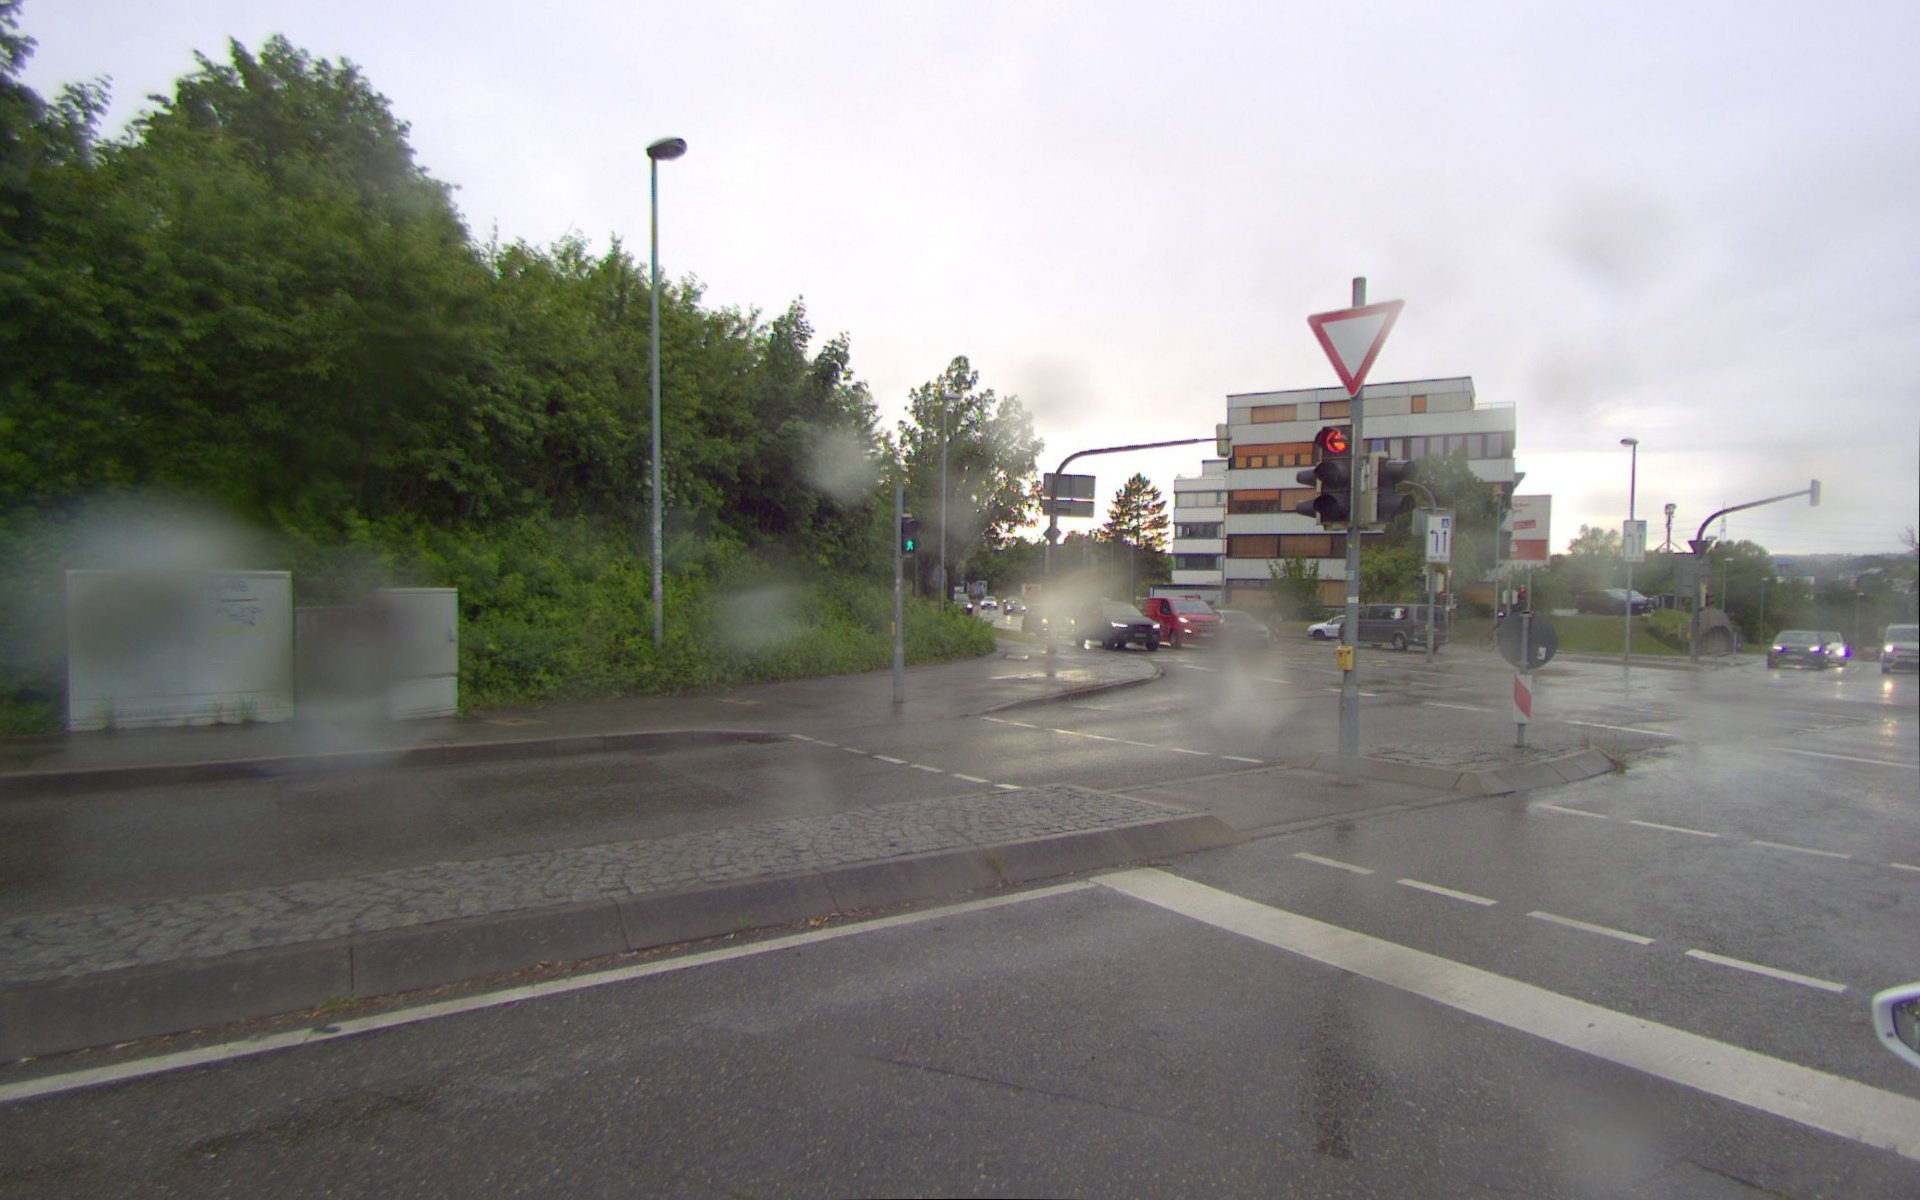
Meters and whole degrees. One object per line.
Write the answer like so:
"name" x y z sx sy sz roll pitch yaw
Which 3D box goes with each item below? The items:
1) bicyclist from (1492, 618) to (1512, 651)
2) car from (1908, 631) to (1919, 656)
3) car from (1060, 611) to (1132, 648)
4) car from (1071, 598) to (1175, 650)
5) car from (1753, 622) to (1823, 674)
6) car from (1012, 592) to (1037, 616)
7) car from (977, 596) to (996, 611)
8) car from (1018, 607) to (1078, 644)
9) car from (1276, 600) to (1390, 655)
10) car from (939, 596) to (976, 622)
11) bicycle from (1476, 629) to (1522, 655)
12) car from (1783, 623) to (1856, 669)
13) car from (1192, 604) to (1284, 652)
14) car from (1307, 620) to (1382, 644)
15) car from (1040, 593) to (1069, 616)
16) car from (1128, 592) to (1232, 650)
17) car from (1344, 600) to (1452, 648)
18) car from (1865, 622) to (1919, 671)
"bicyclist" 24.729 1.580 45.819 0.597 1.465 0.539 0 1 -36
"car" 63.777 2.899 66.102 1.594 1.468 3.791 3 3 37
"car" 6.293 1.337 46.993 1.964 1.496 4.665 1 1 -11
"car" 5.709 0.834 35.742 2.000 1.701 4.620 1 -1 -14
"car" 33.578 1.884 40.694 1.971 1.920 3.979 2 1 42
"car" 5.857 0.361 91.260 1.960 2.041 5.012 1 1 1
"car" 3.011 0.397 115.151 1.810 1.535 3.996 1 2 -5
"car" 3.728 1.074 43.075 1.652 1.405 3.453 1 1 -12
"car" 13.830 0.979 37.520 1.966 1.865 4.143 1 1 -14
"car" -0.192 0.618 70.796 1.963 1.725 4.604 1 1 -8
"bicycle" 24.648 1.913 45.930 0.604 1.066 1.762 1 1 -35
"car" 39.139 2.053 45.716 3.969 1.920 1.976 1 1 -42
"car" 10.901 1.073 39.733 1.964 1.706 3.992 1 1 -10
"car" 20.614 1.701 53.881 3.456 1.120 1.815 2 1 34
"car" 8.808 0.394 94.147 1.961 2.041 5.009 1 1 -3
"car" 8.207 0.729 37.989 1.966 2.040 4.774 1 0 -13
"car" 18.625 1.003 42.902 1.970 1.873 3.980 1 1 -21
"car" 34.917 1.679 37.077 3.974 1.639 1.973 0 1 -45
